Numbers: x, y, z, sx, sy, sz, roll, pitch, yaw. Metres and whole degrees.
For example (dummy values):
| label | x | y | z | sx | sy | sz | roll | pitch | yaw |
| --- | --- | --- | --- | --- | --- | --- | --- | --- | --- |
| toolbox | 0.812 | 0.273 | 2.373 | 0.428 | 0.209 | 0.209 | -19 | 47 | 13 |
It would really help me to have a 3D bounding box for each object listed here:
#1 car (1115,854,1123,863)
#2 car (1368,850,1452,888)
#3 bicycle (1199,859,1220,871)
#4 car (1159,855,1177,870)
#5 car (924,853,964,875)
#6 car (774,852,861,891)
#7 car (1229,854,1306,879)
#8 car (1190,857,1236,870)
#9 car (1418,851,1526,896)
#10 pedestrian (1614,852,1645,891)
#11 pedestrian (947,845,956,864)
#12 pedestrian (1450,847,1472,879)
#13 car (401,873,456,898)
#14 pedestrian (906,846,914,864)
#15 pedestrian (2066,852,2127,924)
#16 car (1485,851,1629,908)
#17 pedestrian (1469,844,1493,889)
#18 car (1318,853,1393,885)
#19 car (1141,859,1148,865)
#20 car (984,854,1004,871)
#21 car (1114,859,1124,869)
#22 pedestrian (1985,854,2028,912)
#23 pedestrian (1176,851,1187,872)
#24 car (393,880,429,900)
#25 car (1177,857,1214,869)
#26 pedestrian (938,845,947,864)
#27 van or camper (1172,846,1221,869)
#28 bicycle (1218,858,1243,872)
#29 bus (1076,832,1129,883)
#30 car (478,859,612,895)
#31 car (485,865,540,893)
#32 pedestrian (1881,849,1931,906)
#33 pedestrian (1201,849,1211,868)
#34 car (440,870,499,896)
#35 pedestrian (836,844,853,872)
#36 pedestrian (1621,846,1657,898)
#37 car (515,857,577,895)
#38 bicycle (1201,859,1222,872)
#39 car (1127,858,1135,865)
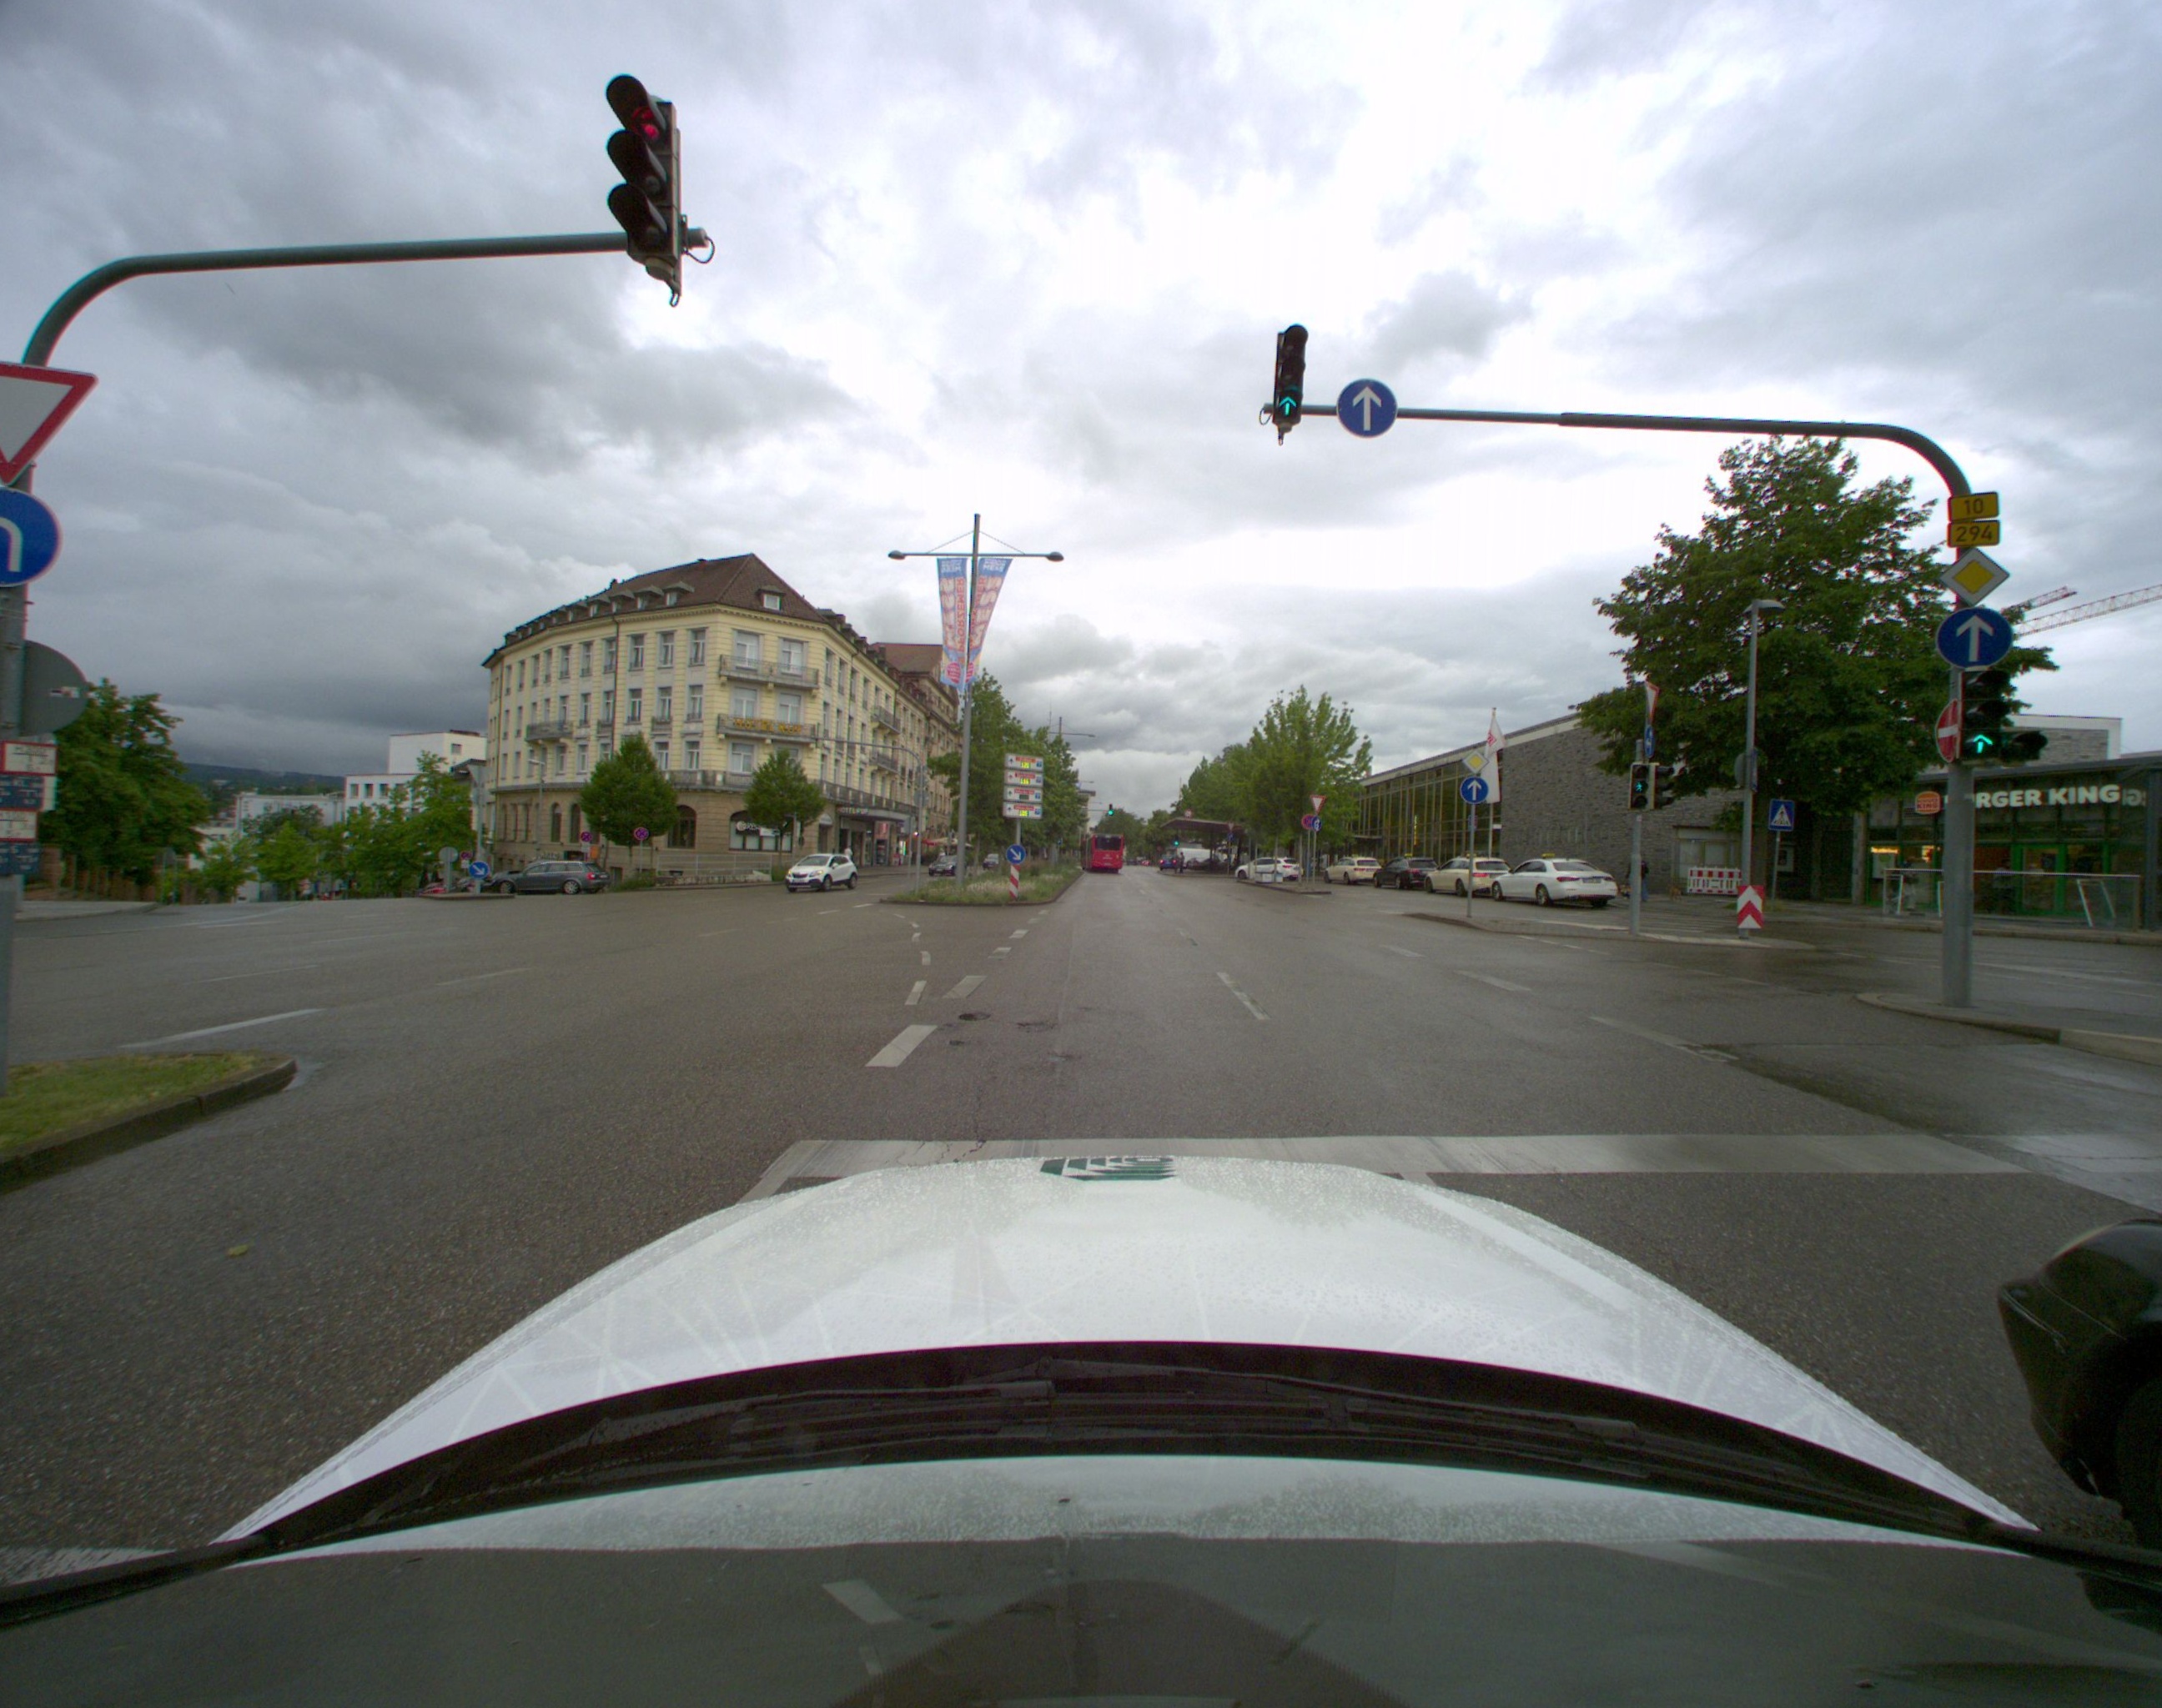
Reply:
| label | x | y | z | sx | sy | sz | roll | pitch | yaw |
| --- | --- | --- | --- | --- | --- | --- | --- | --- | --- |
| car | 8.799 | 1.128 | 188.577 | 1.986 | 2.014 | 4.002 | 0 | -1 | 2 |
| car | 15.188 | 0.662 | 37.904 | 1.986 | 1.599 | 4.959 | 1 | 0 | 1 |
| bicycle | 11.374 | 0.997 | 71.821 | 1.831 | 1.056 | 0.418 | 0 | -1 | -17 |
| car | 9.082 | 0.925 | 85.349 | 1.849 | 1.569 | 4.006 | 1 | -1 | 6 |
| car | -9.392 | 0.668 | 56.313 | 1.948 | 1.422 | 4.002 | 0 | -1 | 2 |
| car | -11.575 | 0.737 | 36.101 | 1.944 | 1.618 | 4.219 | -1 | -1 | 9 |
| car | 11.636 | 0.768 | 51.112 | 1.772 | 1.546 | 4.723 | 1 | -1 | -37 |
| car | 13.313 | 0.963 | 82.120 | 4.196 | 1.325 | 1.829 | 1 | -1 | -18 |
| car | 15.054 | 0.684 | 31.683 | 1.986 | 1.599 | 4.961 | 0 | 0 | 2 |
| pedestrian | 21.283 | 0.682 | 31.606 | 0.800 | 1.477 | 0.716 | 0 | -1 | -29 |
| pedestrian | -11.665 | 0.030 | 73.449 | 0.679 | 1.664 | 0.807 | 0 | -1 | 2 |
| pedestrian | 19.236 | 0.447 | 41.261 | 0.766 | 1.580 | 0.710 | 0 | -1 | -2 |
| car | -41.206 | 1.988 | 51.397 | 3.958 | 1.478 | 1.781 | -1 | -1 | 37 |
| pedestrian | -15.764 | 0.113 | 75.112 | 0.666 | 1.664 | 0.535 | 0 | -1 | -7 |
| pedestrian | 24.807 | 0.810 | 19.902 | 0.646 | 1.666 | 0.772 | -4 | 3 | -20 |
| car | 14.871 | 0.753 | 25.817 | 1.872 | 1.599 | 4.905 | 0 | -1 | 2 |
| pedestrian | 19.237 | 0.603 | 39.178 | 0.792 | 2.164 | 0.722 | 0 | -1 | 0 |
| car | 14.863 | 0.772 | 44.422 | 1.991 | 1.599 | 4.948 | 0 | 0 | -6 |
| car | 17.584 | 2.264 | 225.398 | 1.638 | 1.661 | 3.652 | 0 | -1 | 2 |
| car | -7.935 | 0.753 | 74.442 | 1.673 | 1.512 | 3.858 | 0 | -1 | -4 |
| car | 8.003 | 2.085 | 172.873 | 1.986 | 2.014 | 4.002 | 0 | -1 | 2 |
| pedestrian | 27.510 | 0.845 | 24.220 | 0.713 | 1.667 | 0.802 | -1 | -1 | 40 |
| pedestrian | 8.270 | 0.618 | 66.842 | 0.745 | 1.747 | 0.834 | 0 | -1 | -6 |
| car | -54.707 | 2.897 | 66.517 | 3.950 | 1.478 | 1.781 | 0 | 0 | 43 |
| car | 13.552 | 1.087 | 96.536 | 4.006 | 1.443 | 1.849 | 1 | -1 | -25 |
| pedestrian | -12.500 | 0.046 | 73.510 | 0.678 | 1.664 | 0.808 | -1 | -1 | 5 |
| van or camper | 14.560 | 0.409 | 102.576 | 5.976 | 2.763 | 2.180 | 0 | -1 | -25 |
| bicycle | 11.543 | 0.839 | 62.824 | 1.820 | 1.056 | 0.420 | 0 | -1 | 1 |
| bus | 1.696 | 0.335 | 70.455 | 3.537 | 3.979 | 11.156 | 0 | -1 | -4 |
| car | -22.761 | 0.952 | 34.715 | 4.430 | 1.466 | 1.697 | 0 | -1 | -5 |
| car | -31.593 | 1.370 | 45.217 | 3.949 | 1.398 | 1.645 | 0 | 0 | 42 |
| pedestrian | 24.843 | 0.695 | 24.522 | 0.715 | 1.667 | 0.800 | -1 | -1 | 12 |
| pedestrian | 12.415 | 0.447 | 80.896 | 0.853 | 1.835 | 1.190 | 0 | -1 | 2 |
| car | -36.083 | 1.671 | 48.035 | 3.948 | 1.478 | 1.781 | -1 | -1 | 37 |
| pedestrian | -15.693 | 0.280 | 53.942 | 0.876 | 1.813 | 0.751 | 0 | -1 | 2 |
| pedestrian | 18.026 | 0.573 | 26.306 | 0.727 | 1.626 | 0.788 | 0 | -1 | -42 |
| car | -26.889 | 1.054 | 40.906 | 3.949 | 1.759 | 1.645 | 0 | 0 | 42 |
| bicycle | 11.469 | 0.994 | 71.371 | 1.831 | 1.056 | 0.418 | 0 | -1 | -17 |
| car | 10.390 | 1.605 | 170.633 | 1.588 | 1.561 | 3.652 | 0 | -1 | 2 |
